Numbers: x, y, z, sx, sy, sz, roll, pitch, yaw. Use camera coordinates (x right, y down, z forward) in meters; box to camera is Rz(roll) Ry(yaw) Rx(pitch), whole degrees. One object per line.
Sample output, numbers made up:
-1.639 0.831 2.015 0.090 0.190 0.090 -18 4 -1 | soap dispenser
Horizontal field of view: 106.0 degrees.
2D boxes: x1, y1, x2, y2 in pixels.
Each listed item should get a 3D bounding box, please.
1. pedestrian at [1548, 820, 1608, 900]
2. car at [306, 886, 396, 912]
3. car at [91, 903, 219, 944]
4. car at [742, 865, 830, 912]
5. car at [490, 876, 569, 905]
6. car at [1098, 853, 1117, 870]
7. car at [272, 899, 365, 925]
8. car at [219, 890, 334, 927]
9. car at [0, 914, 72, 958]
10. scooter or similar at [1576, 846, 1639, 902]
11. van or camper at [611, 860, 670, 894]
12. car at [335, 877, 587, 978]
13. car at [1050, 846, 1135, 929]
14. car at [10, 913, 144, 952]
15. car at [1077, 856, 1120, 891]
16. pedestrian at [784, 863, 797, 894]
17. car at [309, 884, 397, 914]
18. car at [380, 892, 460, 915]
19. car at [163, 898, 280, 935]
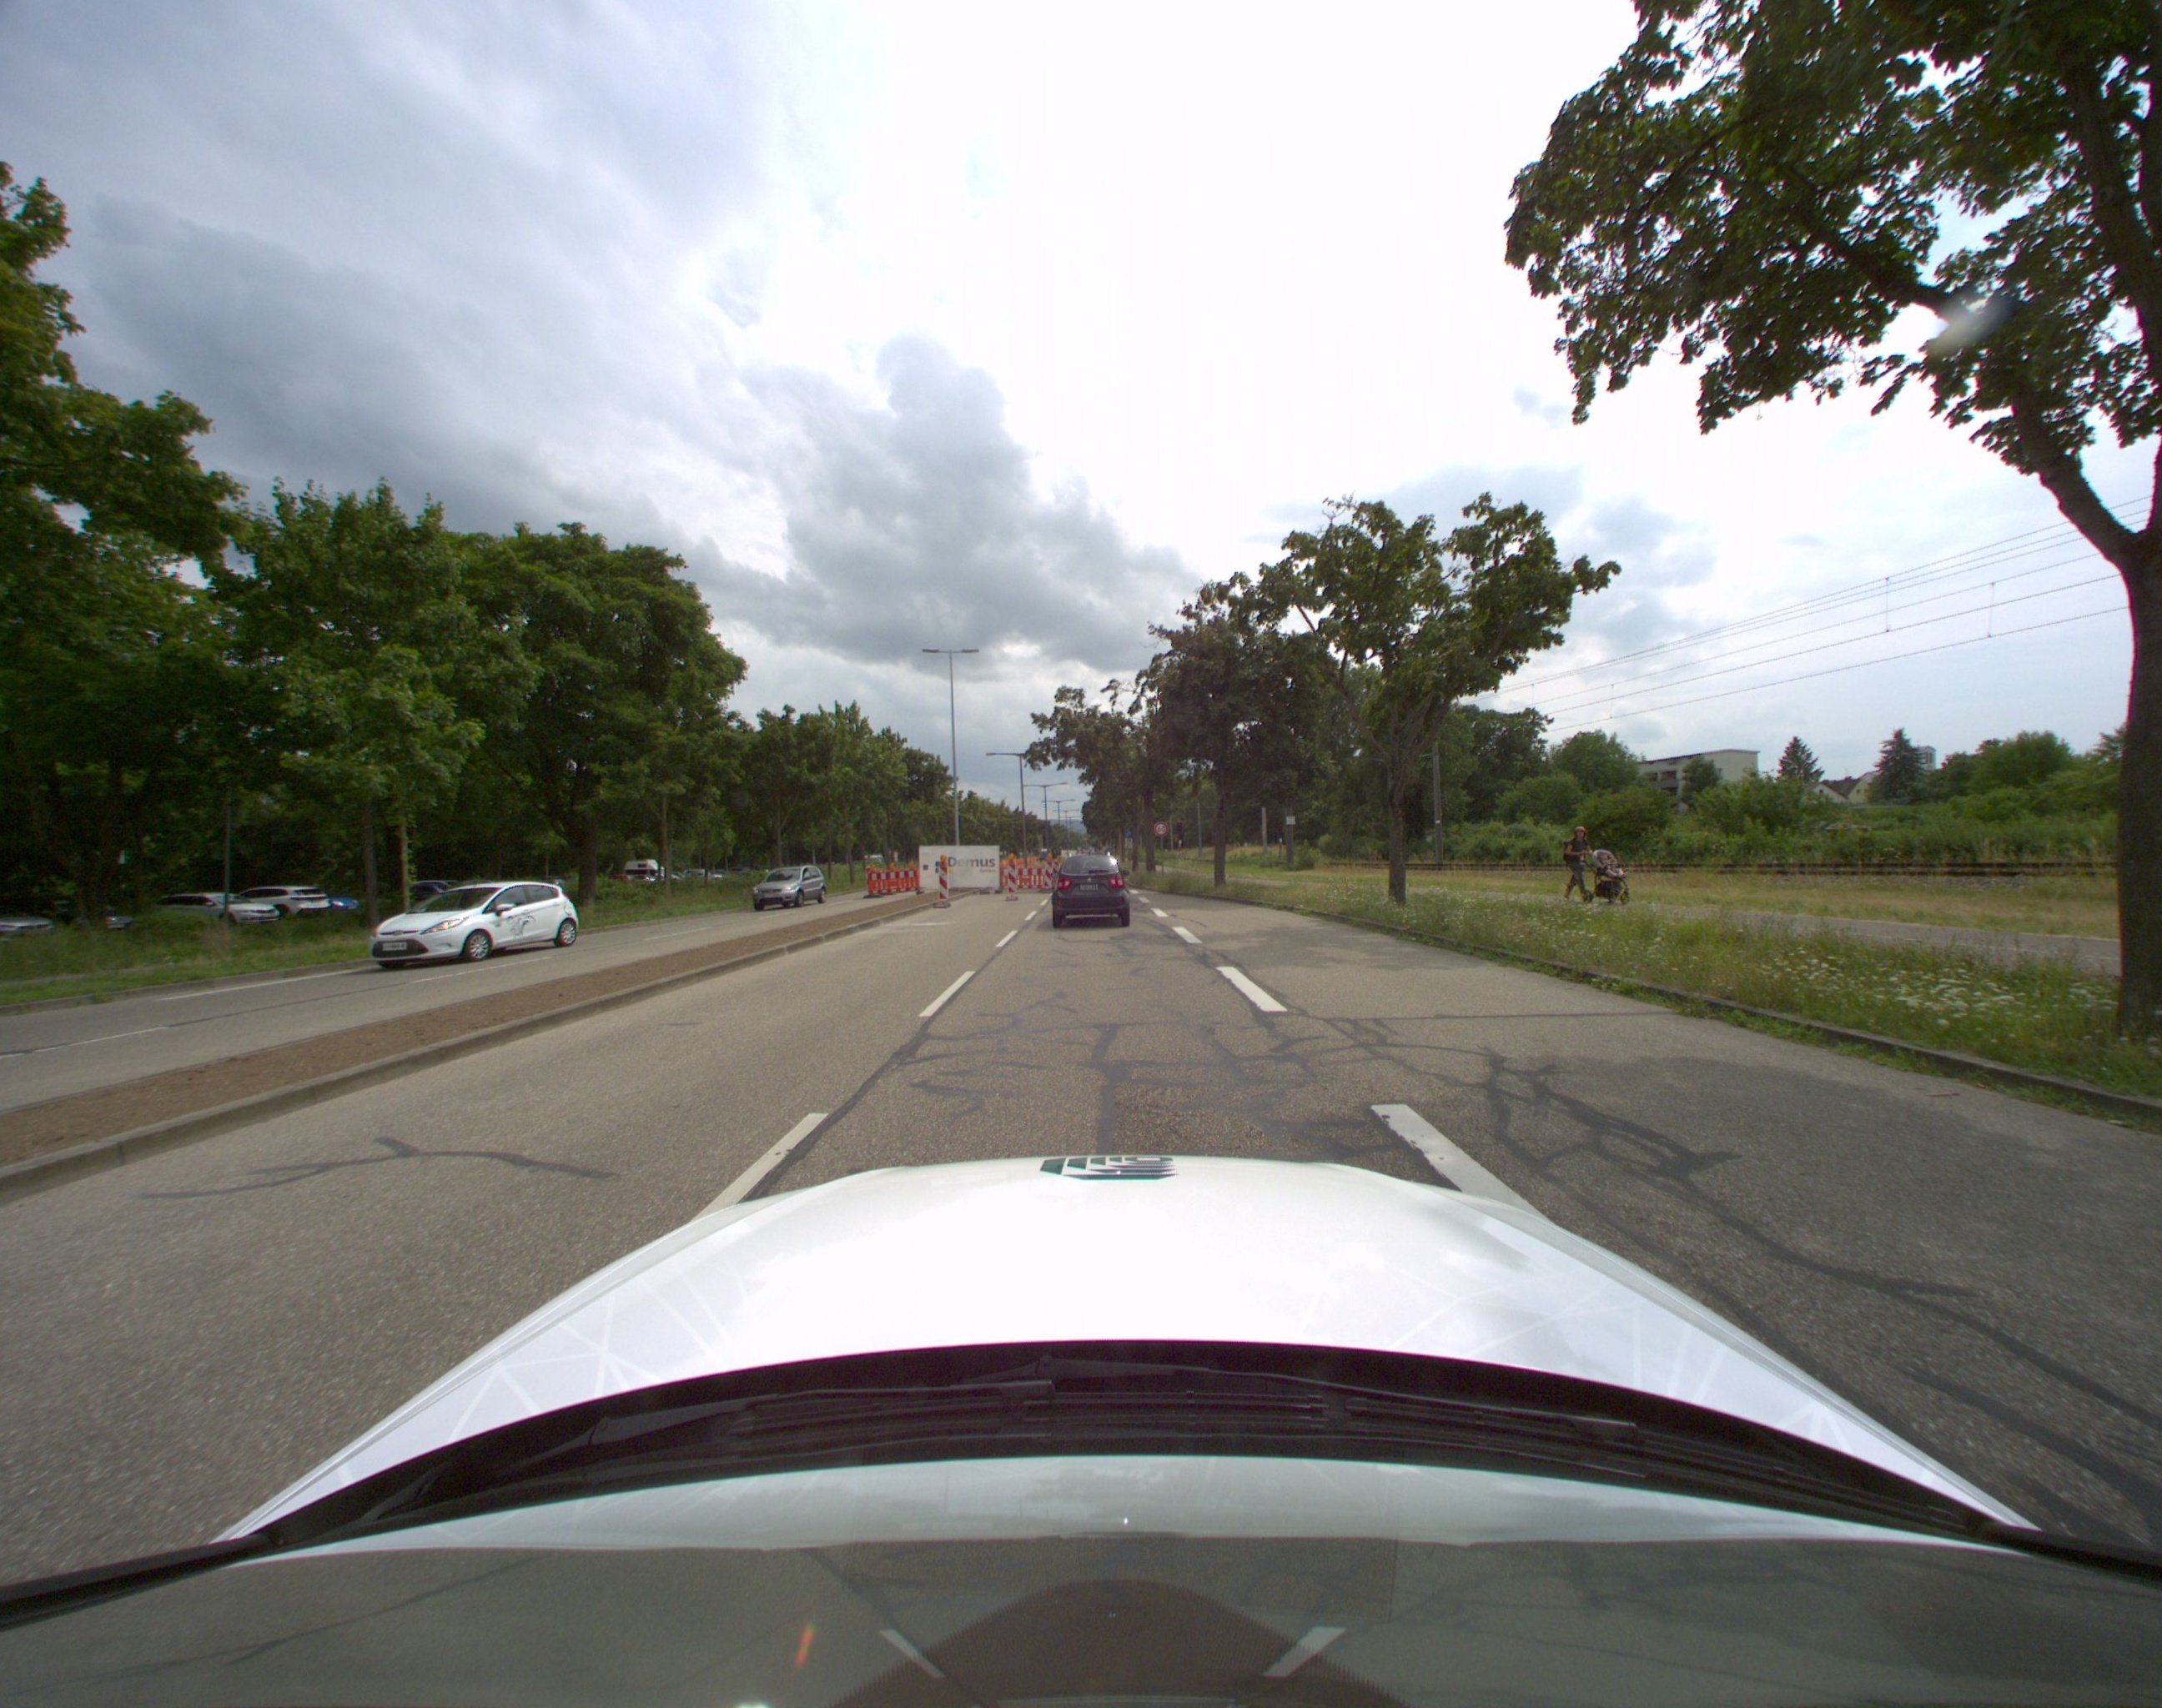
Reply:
10.975 0.133 18.021 0.689 1.695 0.933 -2 0 -3 | pedestrian
-37.801 2.323 42.209 3.353 1.128 1.442 -2 0 2 | car
-38.084 2.854 33.526 3.633 1.411 1.519 -2 0 3 | car
-11.070 1.247 30.859 1.697 1.477 4.001 -3 0 1 | car
-37.554 2.471 55.553 3.970 1.783 2.002 -2 0 3 | car
2.618 0.695 79.749 1.786 1.562 4.003 -2 0 3 | car
-38.454 2.906 41.117 3.353 1.113 1.442 -2 0 2 | car
-38.169 2.579 38.695 3.633 1.519 1.884 -2 0 3 | car
-38.248 2.898 28.577 3.630 1.360 1.710 -2 0 3 | car
11.030 0.409 17.085 0.680 1.130 0.933 -2 0 -3 | scooter or similar
-38.573 1.976 71.365 3.973 2.756 1.927 -2 0 1 | van or camper
-11.736 1.302 15.821 1.684 1.477 4.001 -3 0 1 | car
0.249 0.683 18.807 1.698 1.668 4.000 -2 0 0 | car
-37.972 2.947 30.831 3.280 1.206 1.519 -2 0 3 | car
0.783 0.878 38.405 1.762 1.464 3.997 -2 0 -2 | car
-17.520 1.459 49.121 0.693 1.838 0.647 -2 0 -20 | pedestrian
-38.832 2.416 43.485 3.534 1.411 1.323 -2 0 3 | car
-37.444 2.781 46.157 3.353 1.094 1.442 -2 0 2 | car
-38.045 2.739 36.076 3.633 1.411 1.519 -2 0 3 | car
